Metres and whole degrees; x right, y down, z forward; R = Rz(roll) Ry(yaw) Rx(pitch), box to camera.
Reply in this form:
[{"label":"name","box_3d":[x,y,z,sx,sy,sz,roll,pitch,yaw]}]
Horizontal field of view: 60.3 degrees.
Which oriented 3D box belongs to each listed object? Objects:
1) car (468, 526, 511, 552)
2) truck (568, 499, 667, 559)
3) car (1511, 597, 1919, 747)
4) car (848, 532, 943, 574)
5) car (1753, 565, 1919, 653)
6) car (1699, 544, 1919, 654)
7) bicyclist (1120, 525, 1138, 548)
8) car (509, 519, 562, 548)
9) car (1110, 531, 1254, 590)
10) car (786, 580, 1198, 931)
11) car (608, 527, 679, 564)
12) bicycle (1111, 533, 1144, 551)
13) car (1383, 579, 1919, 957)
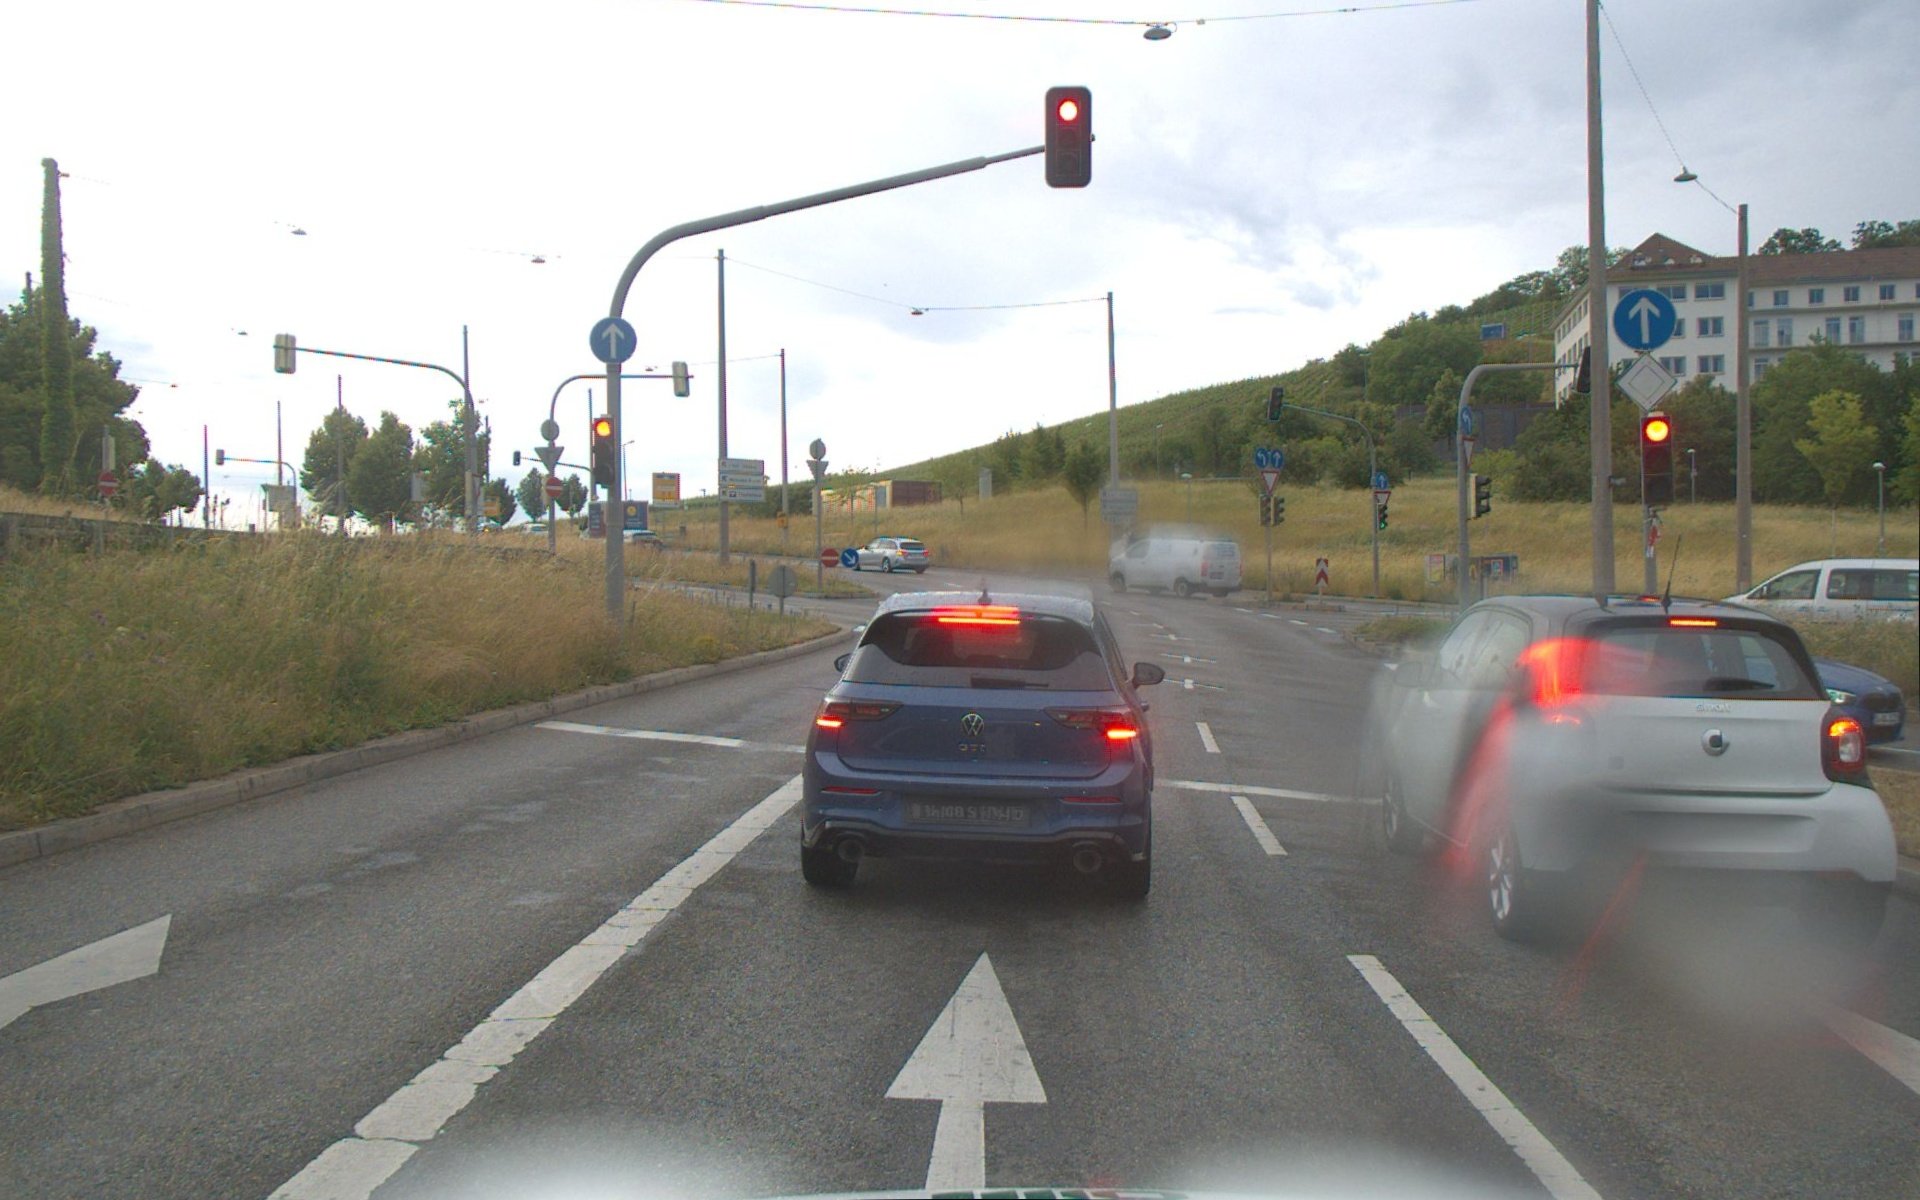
[{"label":"car","box_3d":[-34.638,-4.477,121.618,1.973,1.688,4.498,1,0,-30]},{"label":"truck","box_3d":[-19.712,-4.075,94.868,3.232,3.127,6.099,3,1,-36]},{"label":"car","box_3d":[8.508,0.740,18.772,1.677,1.501,4.248,1,-1,-30]},{"label":"car","box_3d":[-2.811,-1.985,71.041,1.977,1.688,4.489,1,0,-35]},{"label":"car","box_3d":[18.090,0.172,32.131,1.982,1.649,4.458,1,0,-41]},{"label":"car","box_3d":[16.162,-0.012,30.150,1.805,1.882,4.630,1,0,-40]},{"label":"bicyclist","box_3d":[7.899,-2.969,77.293,0.520,1.065,0.572,3,0,-41]},{"label":"car","box_3d":[-27.909,-4.372,108.642,1.977,1.688,4.489,1,0,-35]},{"label":"car","box_3d":[7.296,-1.254,54.799,2.112,1.826,4.681,1,0,-36]},{"label":"car","box_3d":[0.264,0.652,9.144,1.787,1.486,3.810,1,1,4]},{"label":"car","box_3d":[-16.000,-2.725,83.426,1.977,1.688,4.300,1,0,-35]},{"label":"bicycle","box_3d":[7.822,-2.701,77.379,0.515,0.788,1.597,3,1,-41]},{"label":"car","box_3d":[3.341,0.701,8.581,1.623,1.529,3.452,1,0,4]}]
